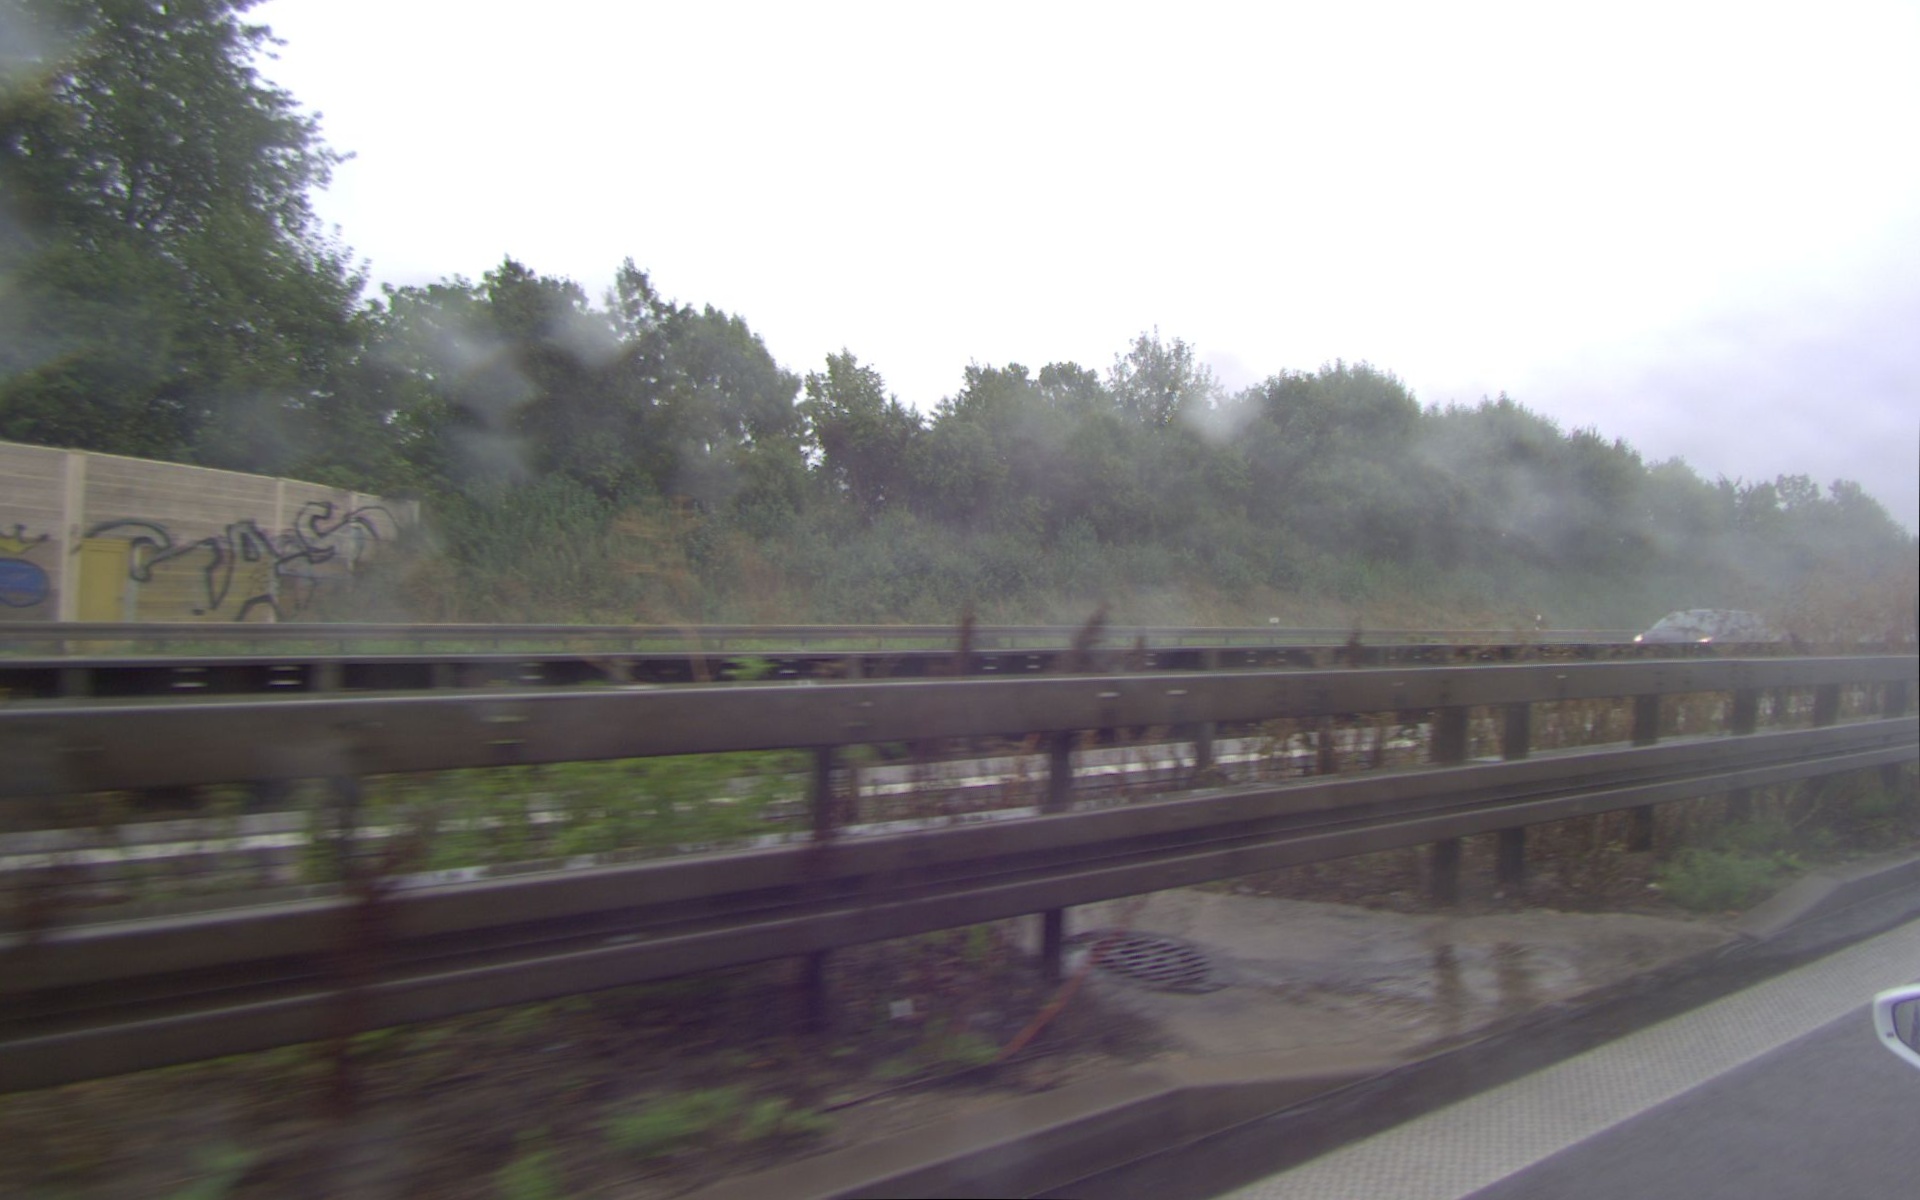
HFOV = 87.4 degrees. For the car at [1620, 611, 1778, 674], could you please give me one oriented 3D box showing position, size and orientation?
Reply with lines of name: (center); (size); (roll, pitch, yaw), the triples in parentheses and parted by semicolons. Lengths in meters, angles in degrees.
car: (19.370, 1.077, 26.313); (3.955, 1.483, 1.983); (1, 1, -31)
